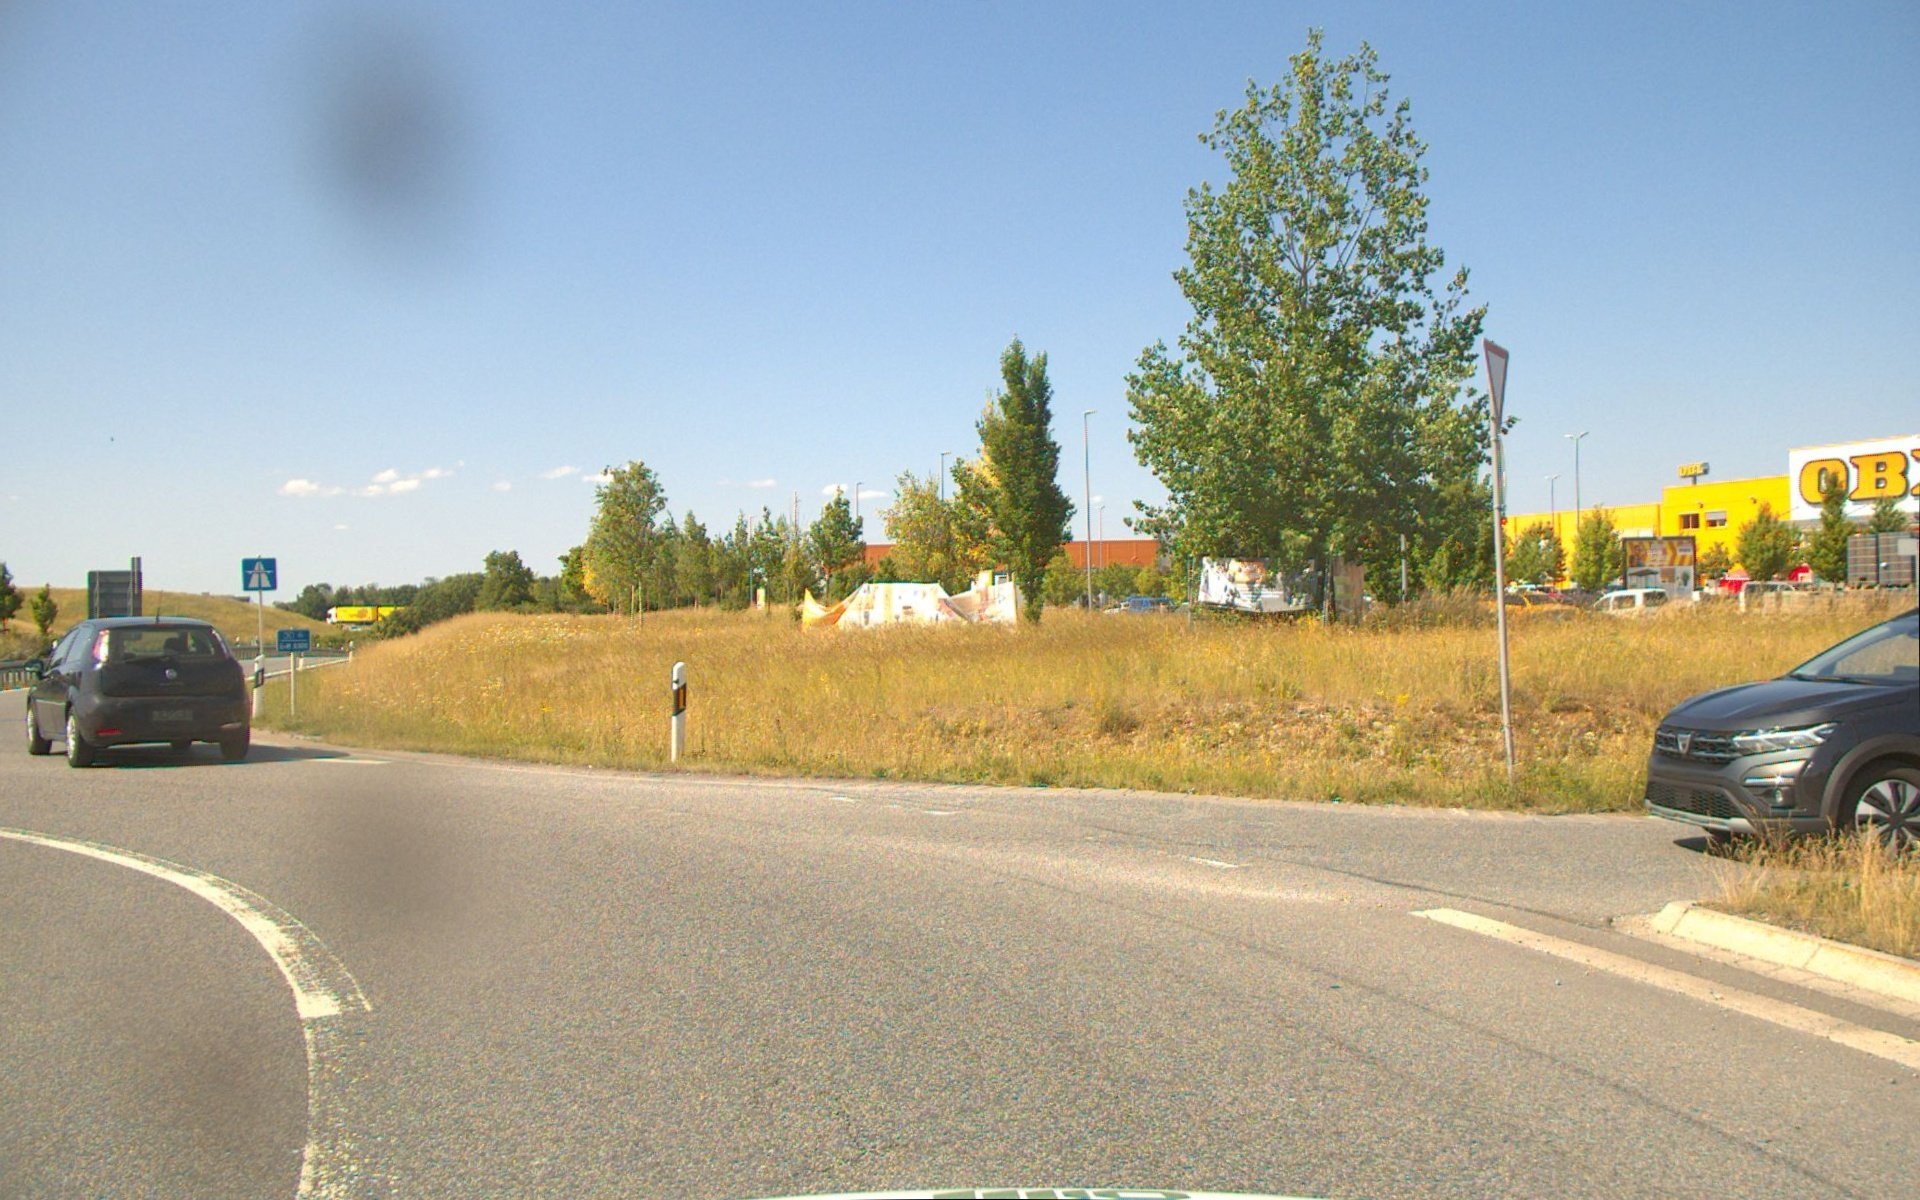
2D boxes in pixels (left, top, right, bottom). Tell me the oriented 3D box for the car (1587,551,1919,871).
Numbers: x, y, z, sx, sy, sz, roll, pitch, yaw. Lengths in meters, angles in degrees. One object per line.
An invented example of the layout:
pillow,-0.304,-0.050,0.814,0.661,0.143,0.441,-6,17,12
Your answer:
car,6.558,0.579,10.314,4.524,1.736,1.954,-2,-1,-6

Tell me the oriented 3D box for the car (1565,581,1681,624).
car,26.542,0.107,66.283,1.972,1.646,3.961,-1,0,-29

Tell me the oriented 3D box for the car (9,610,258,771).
car,-8.987,0.908,17.838,1.629,1.514,3.849,0,-1,-39
